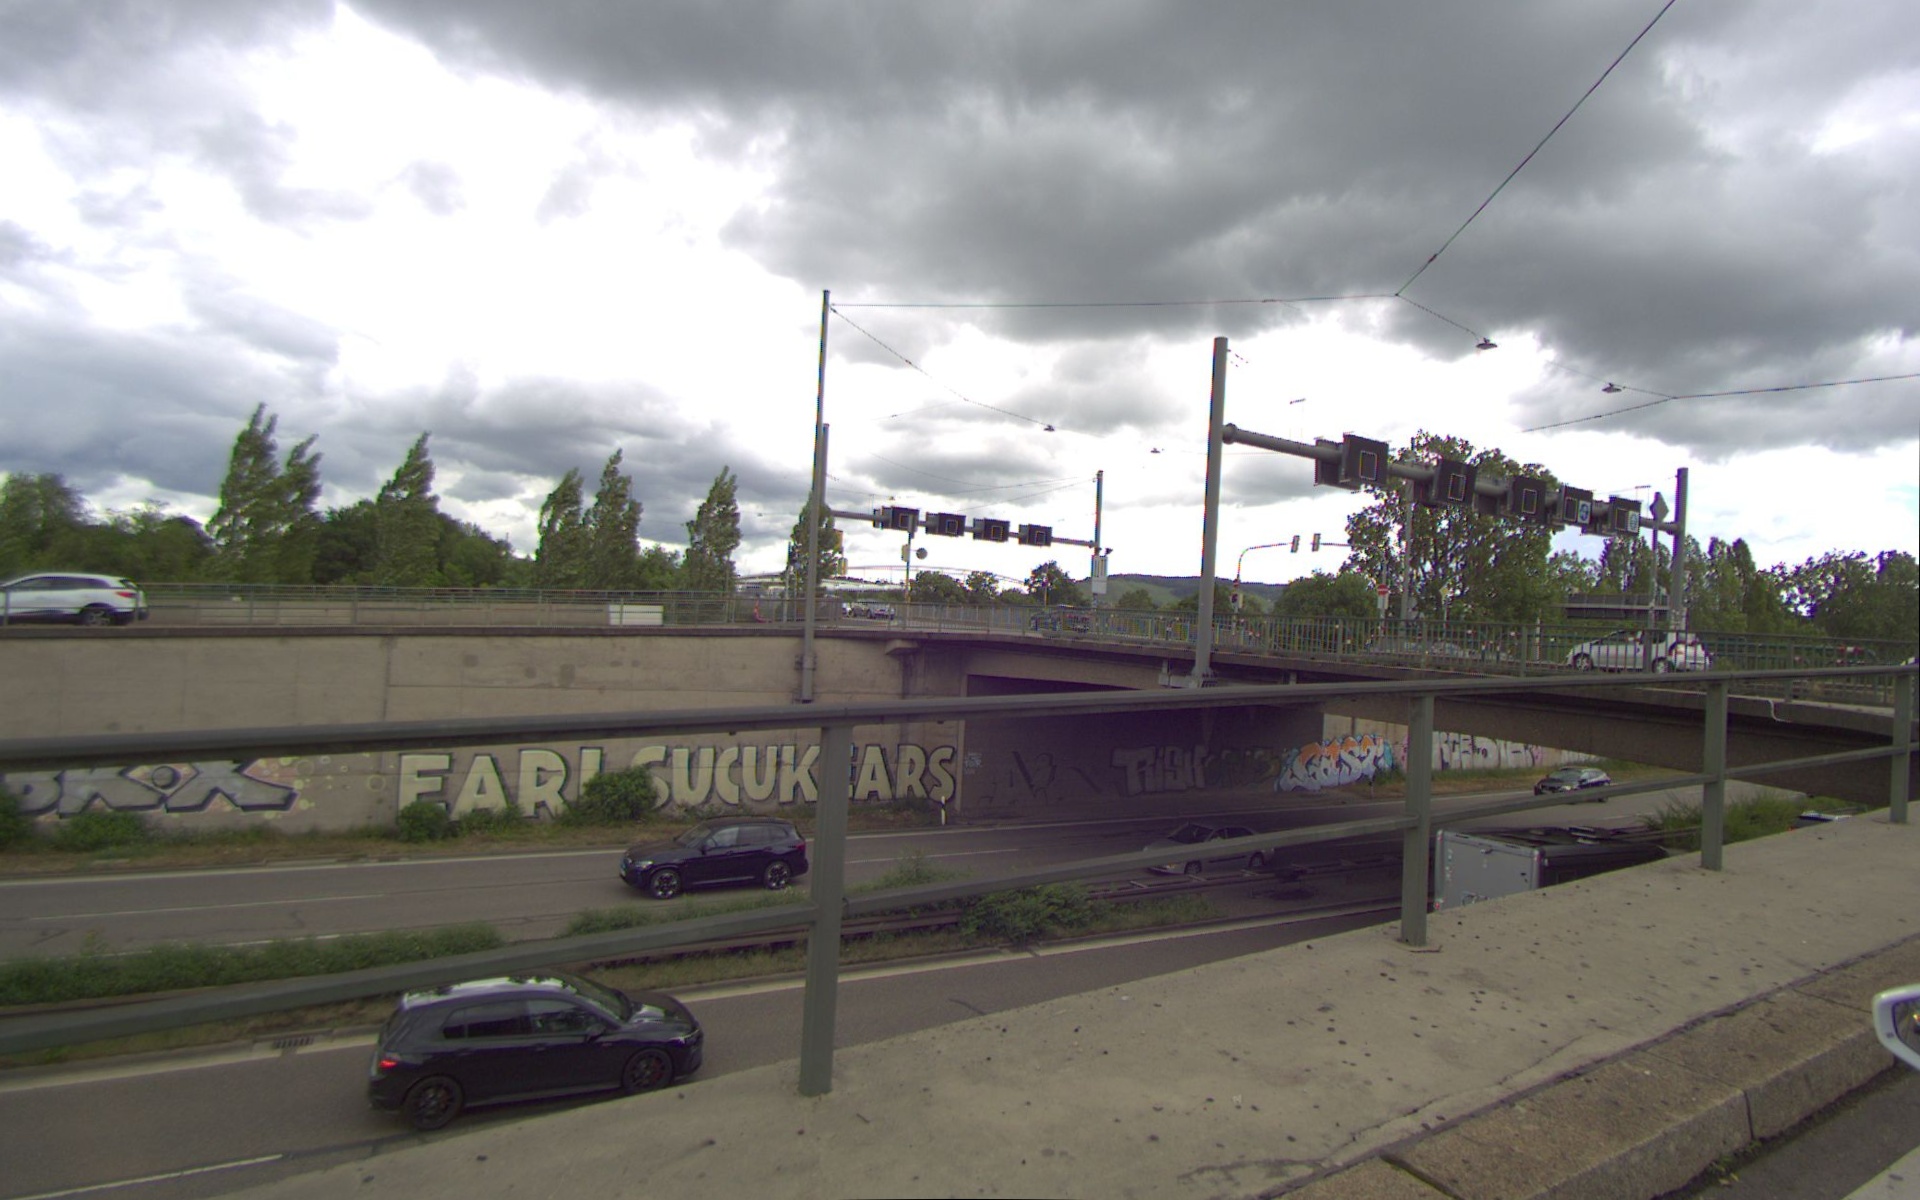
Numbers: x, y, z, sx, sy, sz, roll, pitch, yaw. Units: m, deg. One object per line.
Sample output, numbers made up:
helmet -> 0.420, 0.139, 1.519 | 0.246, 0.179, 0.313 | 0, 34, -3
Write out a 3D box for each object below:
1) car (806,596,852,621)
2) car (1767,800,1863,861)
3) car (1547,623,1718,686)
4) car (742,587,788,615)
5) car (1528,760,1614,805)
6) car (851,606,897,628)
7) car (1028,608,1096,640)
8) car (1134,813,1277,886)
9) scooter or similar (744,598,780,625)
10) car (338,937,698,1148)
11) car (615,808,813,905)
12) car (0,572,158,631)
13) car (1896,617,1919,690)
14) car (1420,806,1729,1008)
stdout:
car -> -8.488, 0.557, 64.944 | 1.560, 1.587, 3.715 | 1, 0, -31
car -> 32.570, 8.702, 38.245 | 4.238, 1.735, 1.828 | 5, -4, -35
car -> 20.613, 1.609, 30.949 | 1.911, 1.740, 3.975 | 1, 0, -25
car -> -14.678, 0.071, 75.419 | 1.711, 2.040, 4.442 | 1, 0, -35
car -> 31.137, 9.264, 51.184 | 4.360, 1.865, 1.921 | 4, -3, -31
car -> -5.760, 1.116, 66.614 | 1.537, 1.372, 3.860 | 1, 0, -31
car -> 5.870, 1.371, 57.971 | 1.915, 1.740, 3.966 | 1, 0, -31
car -> 7.343, 7.382, 29.981 | 4.040, 1.548, 1.720 | 4, -2, -30
scooter or similar -> -8.561, 0.515, 43.508 | 1.402, 1.108, 0.539 | 3, -2, -34
car -> -5.901, 5.849, 13.699 | 4.168, 1.590, 1.742 | 4, -2, -28
car -> -6.227, 6.443, 25.597 | 4.502, 1.761, 1.906 | 4, -3, -31
car -> -25.352, 0.049, 28.085 | 4.292, 1.597, 1.825 | 1, 0, -28
car -> 23.857, 1.275, 22.401 | 1.899, 1.740, 4.406 | 1, 0, 1
car -> 13.811, 6.542, 22.366 | 7.567, 3.282, 2.352 | 4, -3, -28
